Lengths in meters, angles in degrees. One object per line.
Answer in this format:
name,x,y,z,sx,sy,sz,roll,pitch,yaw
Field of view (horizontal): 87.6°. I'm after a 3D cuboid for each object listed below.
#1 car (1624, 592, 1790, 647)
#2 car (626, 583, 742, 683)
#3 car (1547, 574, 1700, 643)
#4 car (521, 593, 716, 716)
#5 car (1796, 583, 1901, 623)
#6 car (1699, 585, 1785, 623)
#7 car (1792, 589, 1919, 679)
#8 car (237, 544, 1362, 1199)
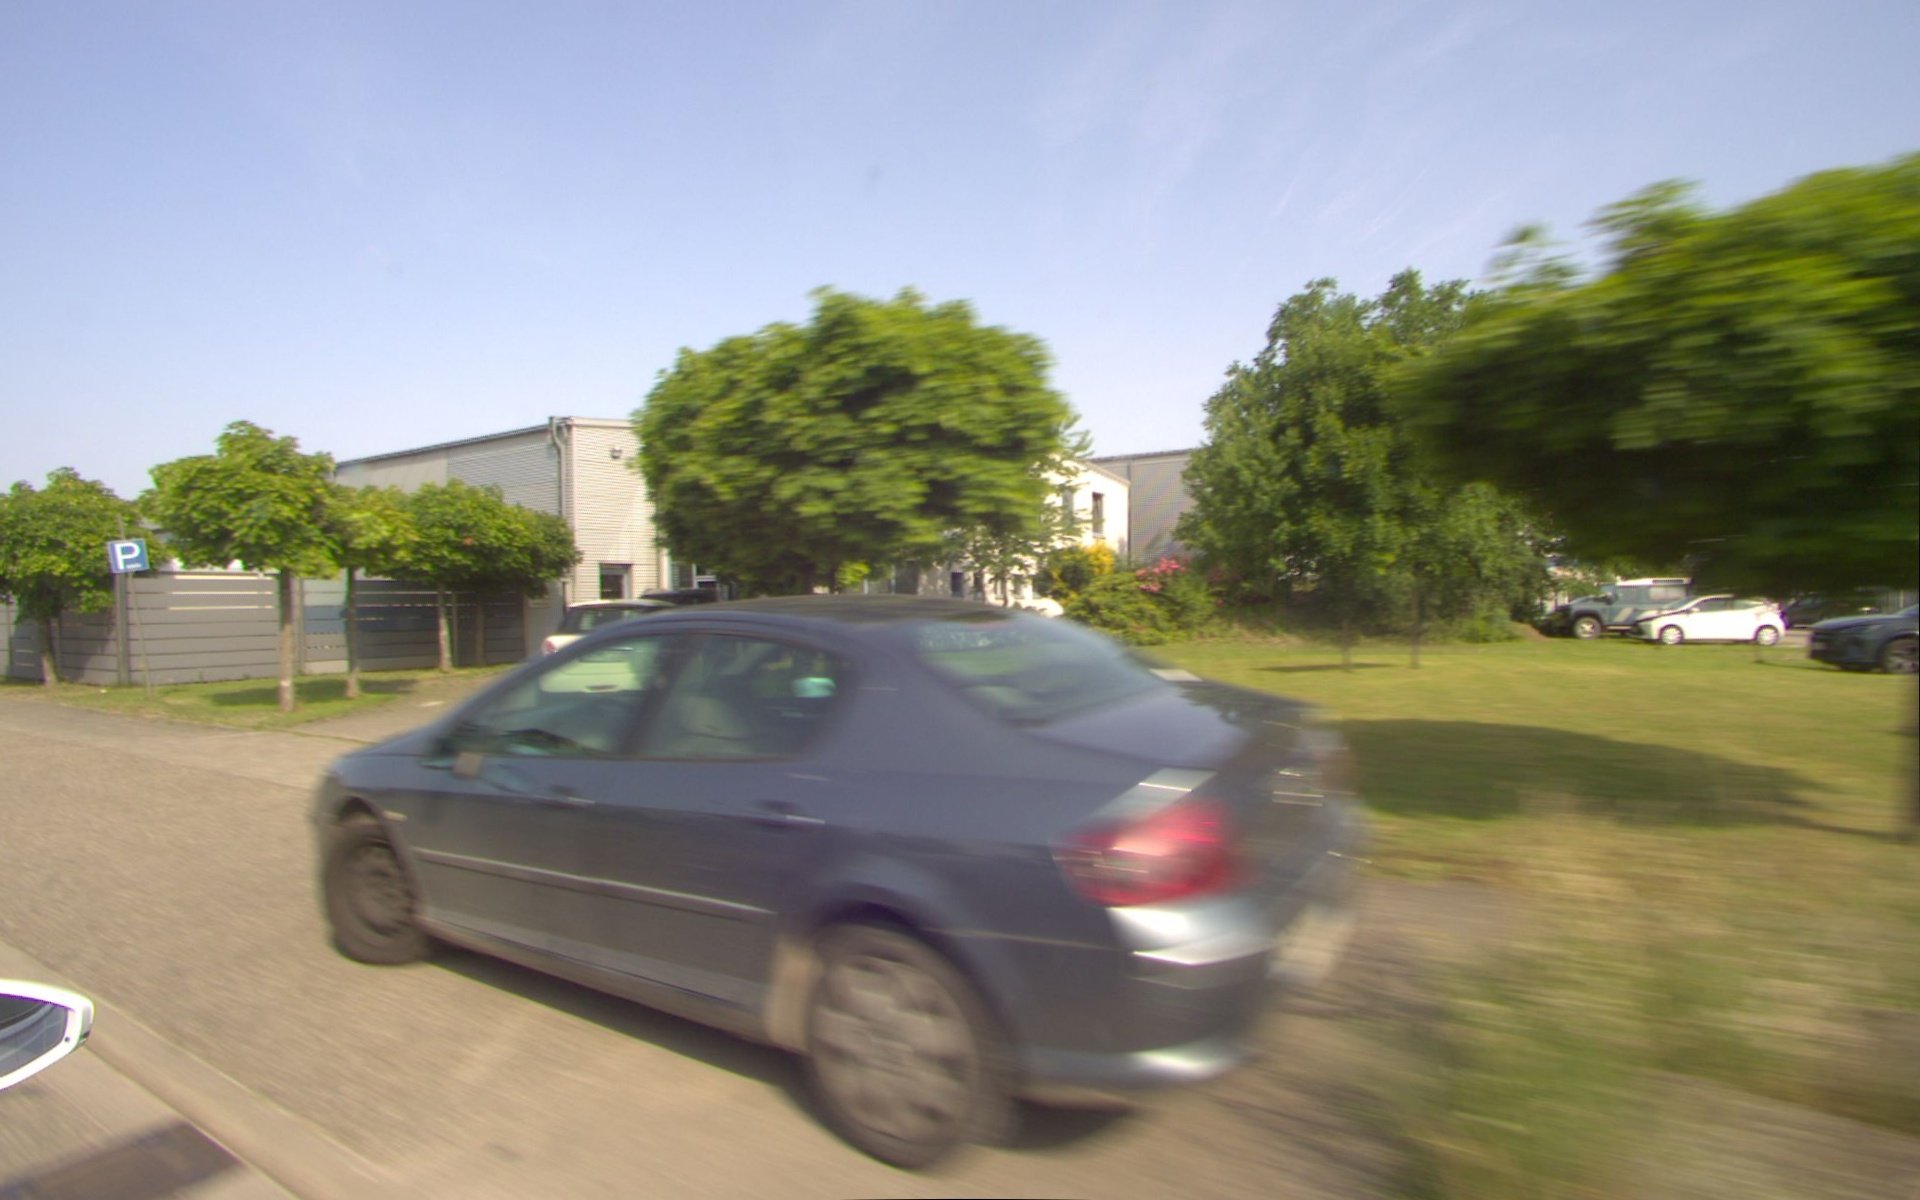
car,21.338,0.553,28.738,3.454,1.470,1.560,-1,0,15
car,-5.010,0.530,18.663,1.656,1.610,4.529,-1,1,-10
car,21.439,0.243,32.507,3.639,1.983,1.682,3,3,15
car,-4.421,0.618,13.511,1.655,1.399,3.695,-1,1,-6
car,36.198,0.089,40.935,1.801,1.542,3.583,0,1,16
car,36.905,0.172,47.395,1.964,1.751,3.992,0,1,19
car,16.706,0.539,16.469,4.272,1.428,1.782,0,1,21
car,-0.884,0.658,3.982,4.362,1.538,1.789,0,1,34
